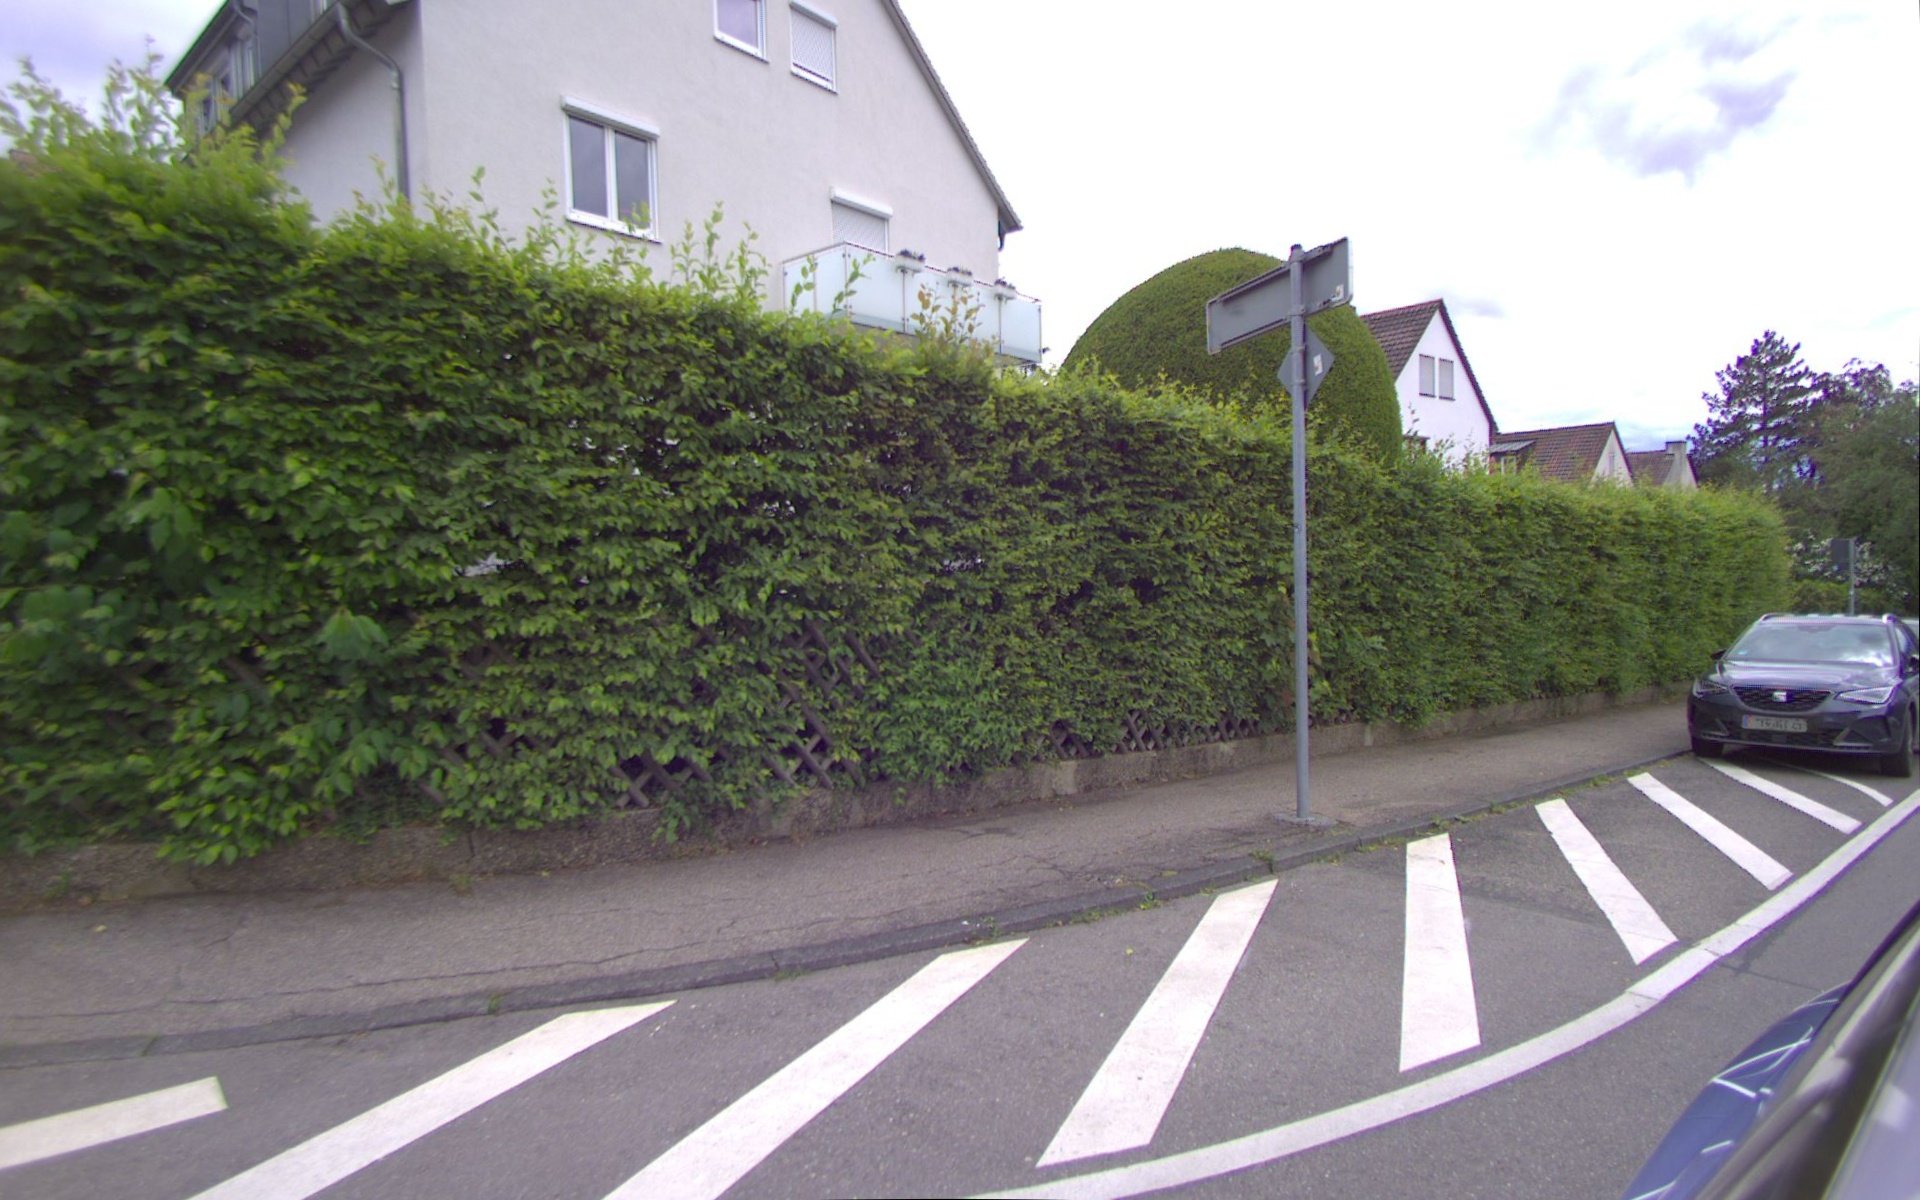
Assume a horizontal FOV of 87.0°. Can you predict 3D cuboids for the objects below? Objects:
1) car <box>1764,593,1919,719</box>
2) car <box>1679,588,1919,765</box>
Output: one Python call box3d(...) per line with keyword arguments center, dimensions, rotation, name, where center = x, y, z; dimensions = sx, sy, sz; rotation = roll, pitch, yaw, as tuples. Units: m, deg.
box3d(center=(13.449, 0.702, 14.452), dimensions=(5.112, 1.512, 1.929), rotation=(1, 1, -38), name="car")
box3d(center=(9.467, 0.670, 10.897), dimensions=(4.301, 1.507, 1.794), rotation=(0, 1, -40), name="car")
